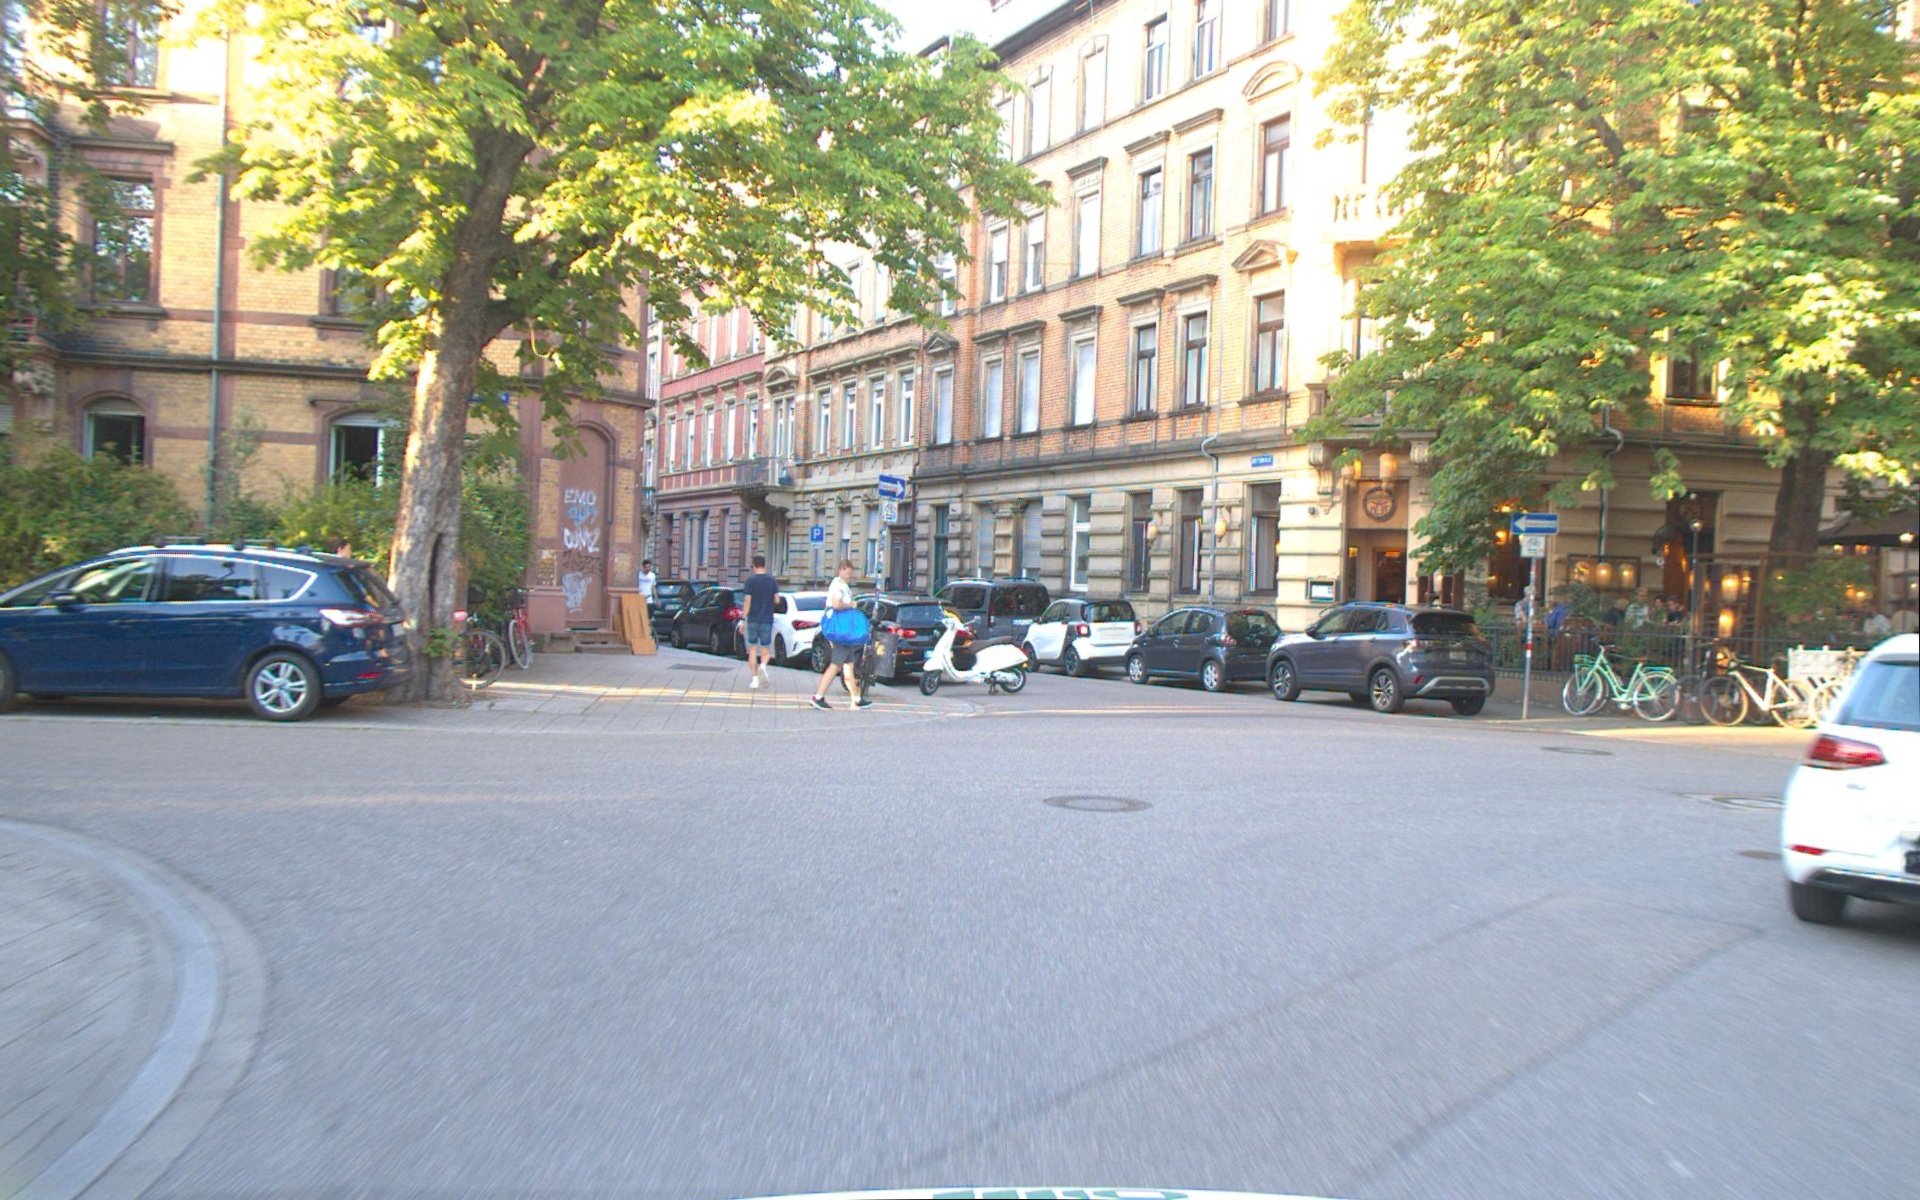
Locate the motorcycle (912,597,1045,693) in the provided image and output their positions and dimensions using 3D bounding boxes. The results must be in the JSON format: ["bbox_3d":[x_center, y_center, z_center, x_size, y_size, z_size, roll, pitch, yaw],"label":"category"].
[{"bbox_3d":[0.275,0.679,25.049,1.897,1.364,0.576,2,1,-12],"label":"motorcycle"}]

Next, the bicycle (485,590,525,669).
[{"bbox_3d":[-6.545,0.409,23.829,0.237,1.046,1.676,2,1,-5],"label":"bicycle"}]

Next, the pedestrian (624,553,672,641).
[{"bbox_3d":[-6.679,-0.076,35.421,0.828,1.835,0.771,2,1,-22],"label":"pedestrian"}]

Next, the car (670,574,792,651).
[{"bbox_3d":[-5.188,0.247,37.104,1.634,1.455,3.866,2,2,-25],"label":"car"}]

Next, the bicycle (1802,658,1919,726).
[{"bbox_3d":[12.863,1.306,23.342,1.935,0.900,0.399,2,1,-15],"label":"bicycle"}]

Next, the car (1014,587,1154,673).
[{"bbox_3d":[2.475,0.579,33.467,1.653,1.552,2.746,2,1,-25],"label":"car"}]

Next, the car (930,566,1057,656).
[{"bbox_3d":[0.708,0.225,36.885,1.653,1.813,2.991,2,1,-25],"label":"car"}]

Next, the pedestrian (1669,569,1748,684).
[{"bbox_3d":[12.354,0.428,27.316,0.760,1.835,0.840,2,1,-16],"label":"pedestrian"}]

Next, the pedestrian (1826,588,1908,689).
[{"bbox_3d":[14.043,0.590,25.621,0.759,1.507,0.759,2,1,-12],"label":"pedestrian"}]

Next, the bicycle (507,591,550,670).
[{"bbox_3d":[-6.240,0.422,23.955,0.312,1.046,1.676,2,1,-5],"label":"bicycle"}]

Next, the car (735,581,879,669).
[{"bbox_3d":[-3.113,0.455,32.803,1.632,1.455,4.139,2,2,-23],"label":"car"}]

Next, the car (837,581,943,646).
[{"bbox_3d":[-1.811,0.319,42.141,1.653,1.456,2.991,2,1,-25],"label":"car"}]

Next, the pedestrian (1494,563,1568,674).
[{"bbox_3d":[9.692,0.310,28.104,0.828,1.835,0.771,2,1,-22],"label":"pedestrian"}]

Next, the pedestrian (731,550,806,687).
[{"bbox_3d":[-2.674,0.243,22.998,0.725,1.835,1.115,2,1,-21],"label":"pedestrian"}]

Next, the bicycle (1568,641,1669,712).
[{"bbox_3d":[9.623,1.102,24.211,0.317,0.930,1.344,1,2,-43],"label":"bicycle"}]

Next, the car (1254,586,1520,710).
[{"bbox_3d":[6.469,0.690,25.477,1.890,1.552,3.866,2,2,-25],"label":"car"}]

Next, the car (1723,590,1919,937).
[{"bbox_3d":[5.654,0.782,8.703,1.849,1.492,3.947,4,2,42],"label":"car"}]

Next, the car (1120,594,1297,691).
[{"bbox_3d":[4.451,0.732,29.978,1.653,1.552,3.218,1,1,-25],"label":"car"}]

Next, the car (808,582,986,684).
[{"bbox_3d":[-1.156,0.524,28.354,1.633,1.455,3.960,2,2,-25],"label":"car"}]

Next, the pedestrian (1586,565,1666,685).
[{"bbox_3d":[10.500,0.391,26.089,0.760,1.835,0.840,2,1,-16],"label":"pedestrian"}]

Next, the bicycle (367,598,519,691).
[{"bbox_3d":[-6.082,0.528,19.477,1.650,1.046,0.442,1,1,-26],"label":"bicycle"}]

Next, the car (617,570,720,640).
[{"bbox_3d":[-7.513,0.101,42.372,1.634,1.551,3.866,2,2,-25],"label":"car"}]

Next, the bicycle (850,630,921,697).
[{"bbox_3d":[-1.020,0.868,22.909,0.416,0.836,1.462,2,1,20],"label":"bicycle"}]

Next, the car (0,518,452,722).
[{"bbox_3d":[-7.825,0.161,16.805,4.738,1.762,1.918,3,1,-7],"label":"car"}]

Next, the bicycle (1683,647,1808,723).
[{"bbox_3d":[11.110,1.197,23.416,1.537,0.973,0.320,2,1,11],"label":"bicycle"}]

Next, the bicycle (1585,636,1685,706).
[{"bbox_3d":[9.944,1.035,24.392,0.317,0.930,1.344,1,2,-43],"label":"bicycle"}]

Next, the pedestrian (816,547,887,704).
[{"bbox_3d":[-1.347,0.299,20.409,0.799,1.884,0.802,2,1,-6],"label":"pedestrian"}]

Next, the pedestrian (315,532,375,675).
[{"bbox_3d":[-7.336,0.035,19.737,0.532,1.663,0.447,2,1,-6],"label":"pedestrian"}]
